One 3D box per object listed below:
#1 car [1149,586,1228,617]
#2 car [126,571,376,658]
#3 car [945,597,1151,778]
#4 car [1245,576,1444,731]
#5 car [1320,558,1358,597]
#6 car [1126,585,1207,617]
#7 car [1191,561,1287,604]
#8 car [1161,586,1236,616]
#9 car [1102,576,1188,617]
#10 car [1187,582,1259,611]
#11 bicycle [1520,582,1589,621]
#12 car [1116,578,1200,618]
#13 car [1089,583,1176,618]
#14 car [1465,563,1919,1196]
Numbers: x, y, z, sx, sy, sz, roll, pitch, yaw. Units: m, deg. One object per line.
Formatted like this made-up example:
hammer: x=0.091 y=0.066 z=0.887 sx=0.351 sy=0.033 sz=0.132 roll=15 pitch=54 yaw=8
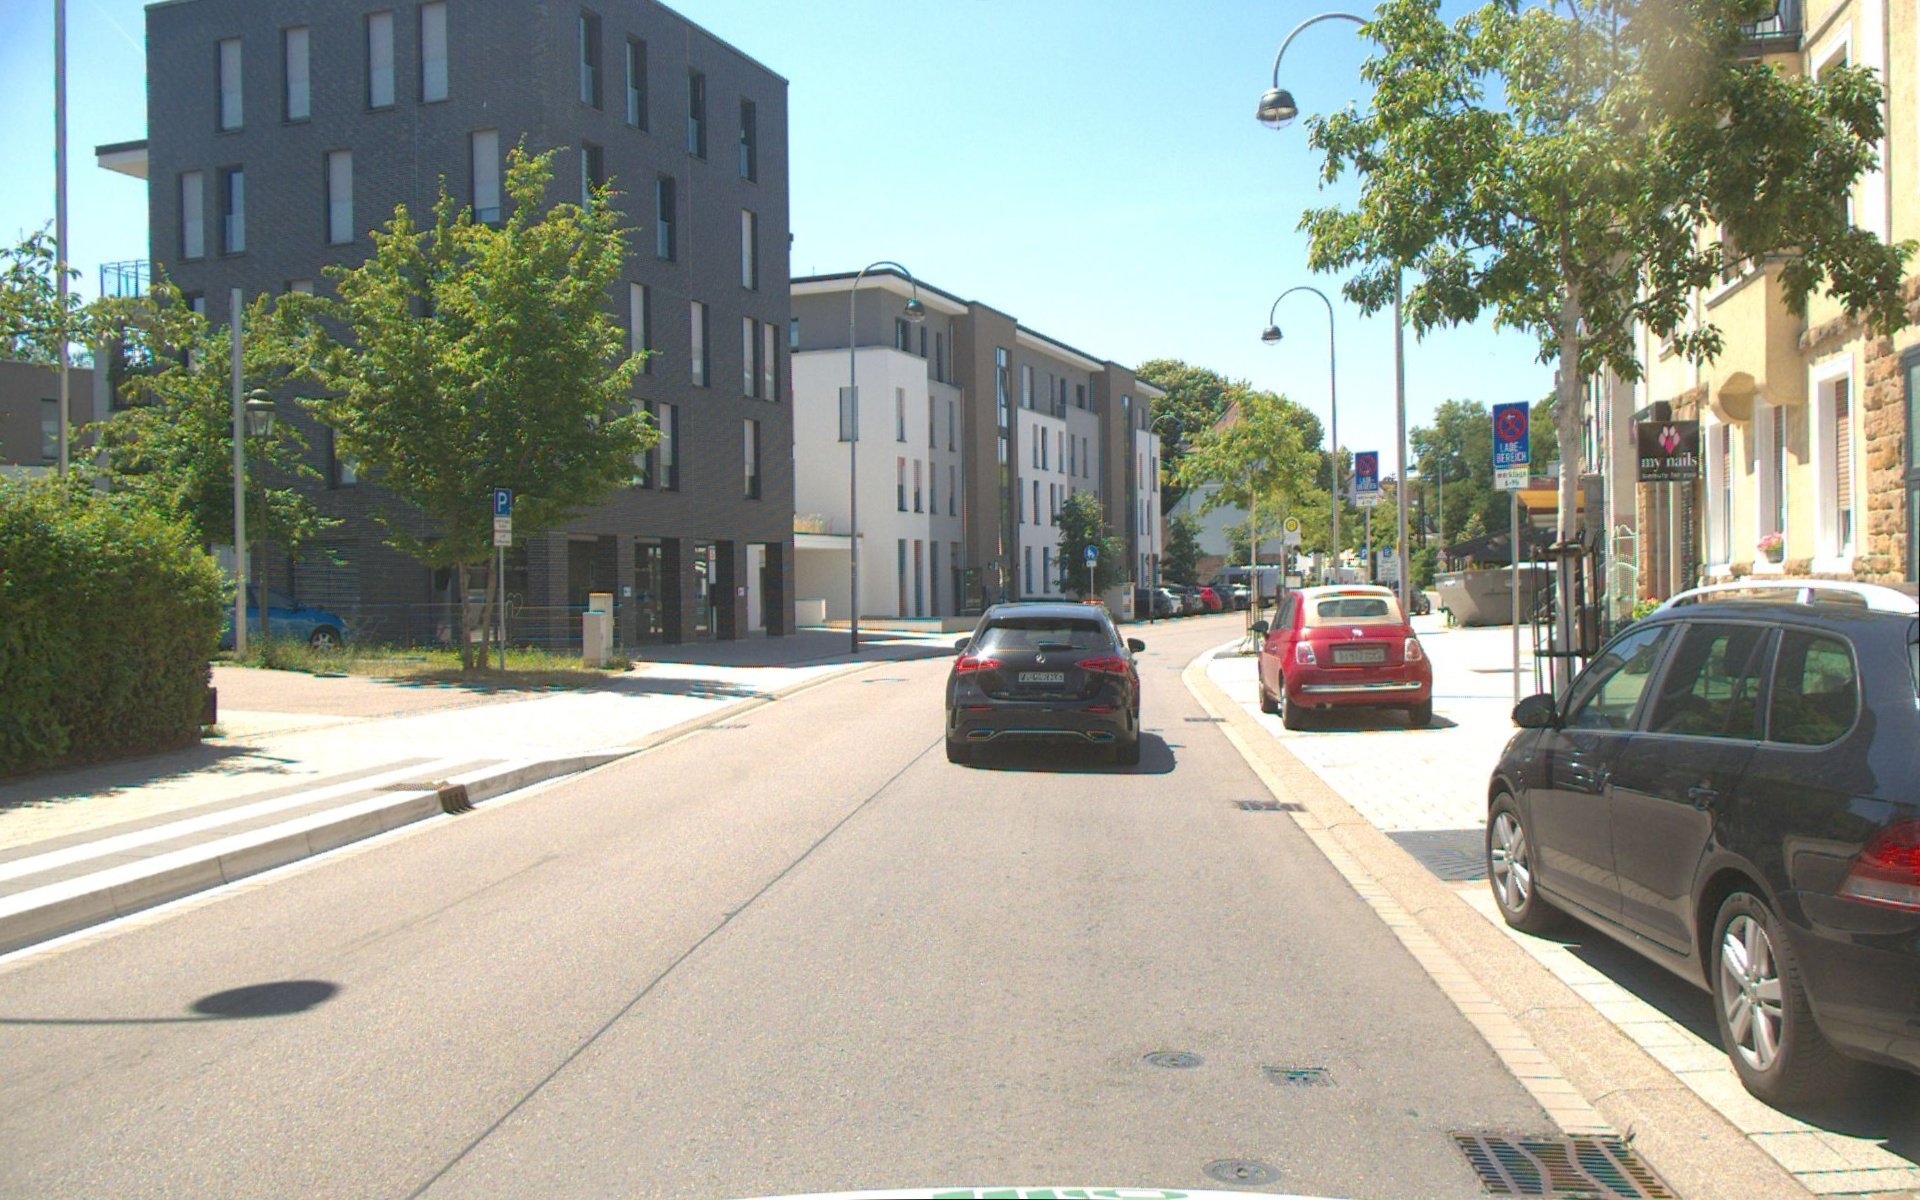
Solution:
car: x=12.595 y=0.094 z=91.177 sx=3.906 sy=1.691 sz=1.999 roll=0 pitch=0 yaw=23
car: x=-13.894 y=0.267 z=32.627 sx=1.960 sy=1.596 sz=4.153 roll=0 pitch=0 yaw=35
car: x=0.913 y=0.737 z=16.310 sx=1.726 sy=1.483 sz=4.441 roll=1 pitch=0 yaw=4
car: x=4.313 y=0.550 z=19.012 sx=1.572 sy=1.556 sz=3.493 roll=-2 pitch=0 yaw=2
car: x=20.558 y=-1.190 z=89.731 sx=1.951 sy=2.049 sz=4.003 roll=0 pitch=0 yaw=13
car: x=11.092 y=0.047 z=88.703 sx=3.906 sy=1.691 sz=1.999 roll=0 pitch=0 yaw=23
car: x=17.702 y=-1.077 z=105.006 sx=5.529 sy=2.624 sz=2.514 roll=0 pitch=0 yaw=25
car: x=13.700 y=0.069 z=94.932 sx=3.906 sy=1.691 sz=1.999 roll=0 pitch=0 yaw=23
car: x=9.387 y=-0.155 z=83.973 sx=3.907 sy=2.049 sz=1.999 roll=0 pitch=0 yaw=25
car: x=15.937 y=-0.217 z=100.180 sx=3.906 sy=1.691 sz=1.999 roll=0 pitch=0 yaw=23
bicycle: x=18.648 y=0.055 z=51.864 sx=2.005 sy=1.199 sz=0.892 roll=0 pitch=0 yaw=23
car: x=10.331 y=-0.109 z=86.243 sx=3.907 sy=2.049 sz=1.999 roll=0 pitch=0 yaw=25
car: x=8.520 y=0.049 z=81.679 sx=3.906 sy=1.691 sz=1.999 roll=0 pitch=0 yaw=23
car: x=3.213 y=0.648 z=5.768 sx=1.714 sy=1.512 sz=4.001 roll=-3 pitch=0 yaw=2
